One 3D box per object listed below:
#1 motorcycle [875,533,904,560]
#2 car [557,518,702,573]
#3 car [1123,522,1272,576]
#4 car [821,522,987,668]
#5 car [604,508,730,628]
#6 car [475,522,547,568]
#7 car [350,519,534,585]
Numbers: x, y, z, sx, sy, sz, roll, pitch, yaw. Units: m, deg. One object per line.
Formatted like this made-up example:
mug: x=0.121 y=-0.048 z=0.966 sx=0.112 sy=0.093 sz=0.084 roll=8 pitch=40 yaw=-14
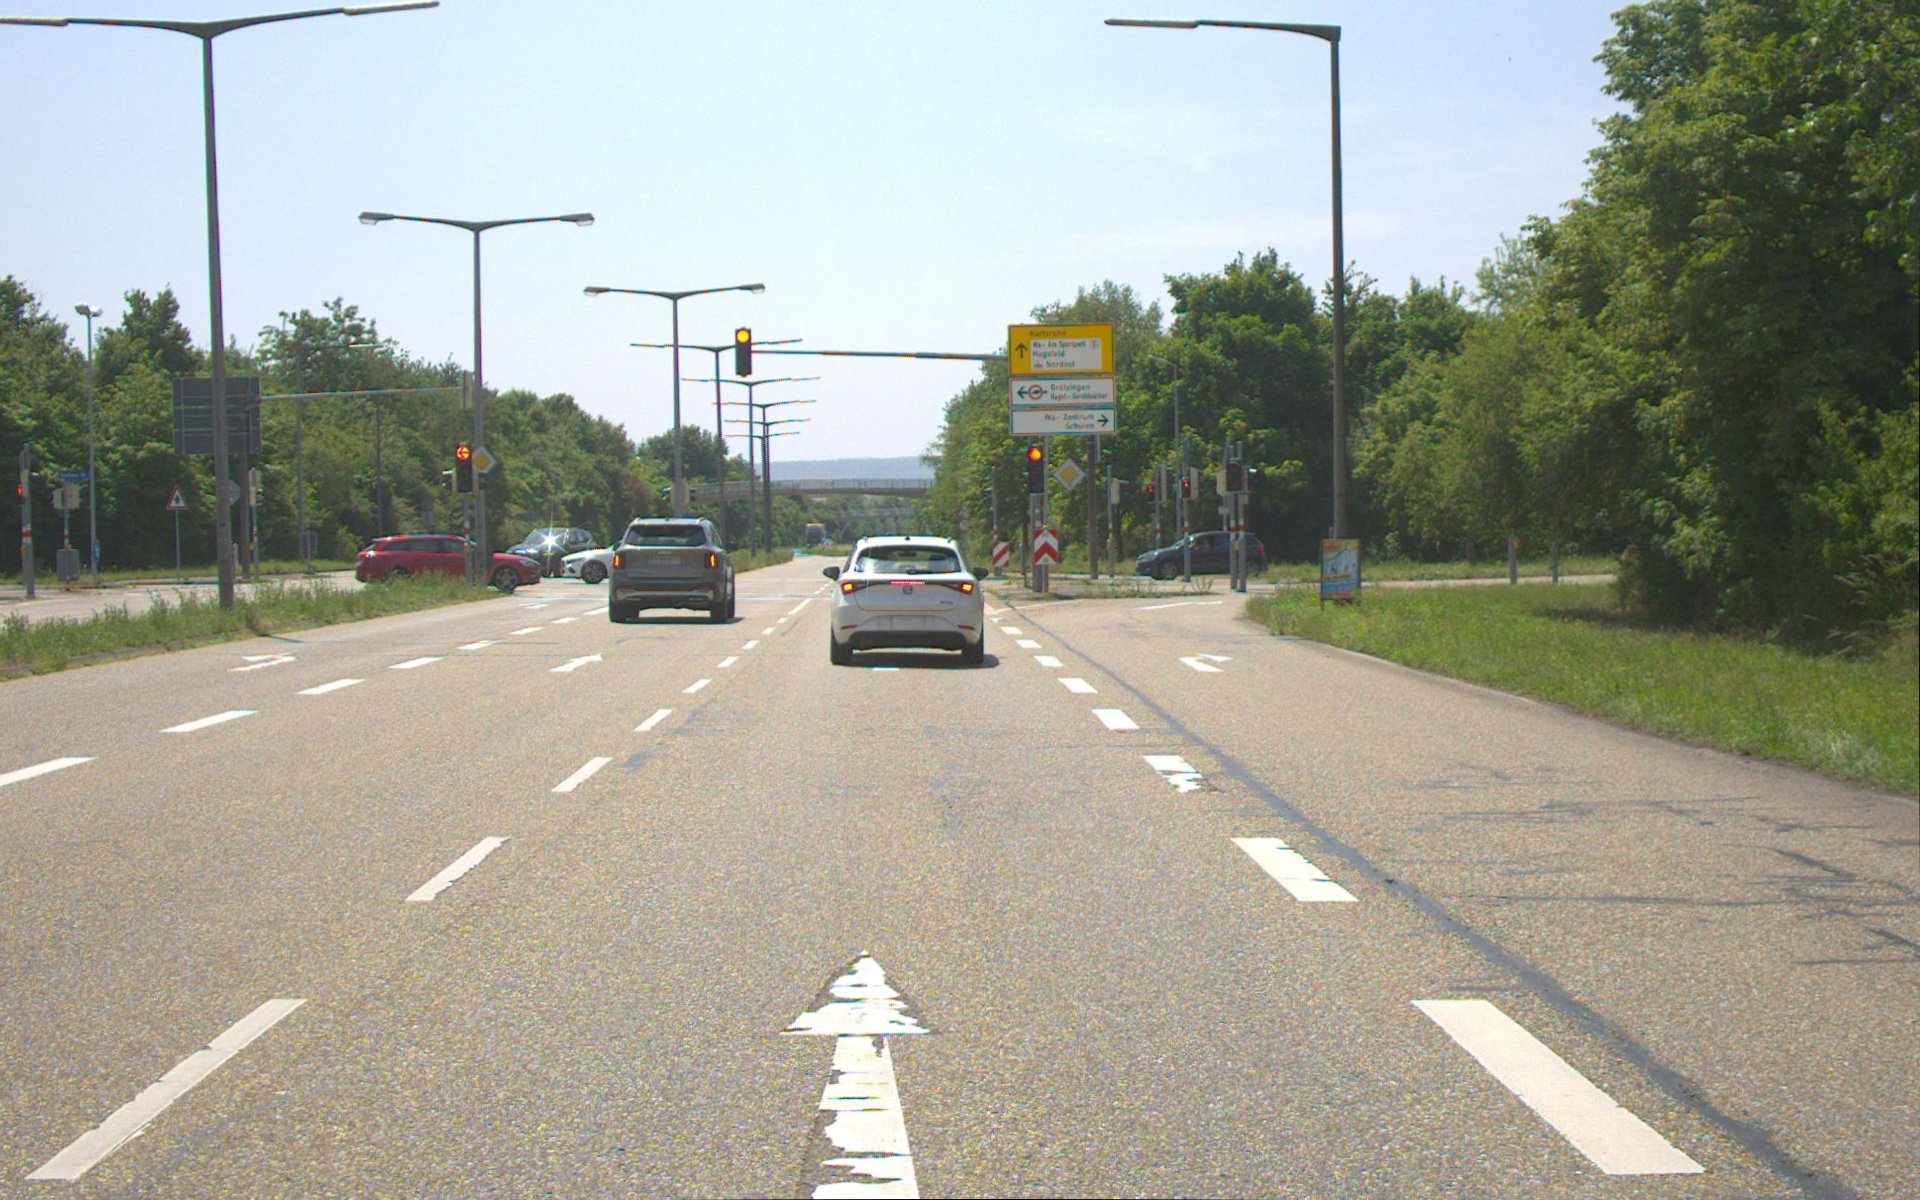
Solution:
motorcycle: x=-3.489 y=-2.667 z=170.382 sx=1.424 sy=1.276 sz=2.569 roll=-2 pitch=1 yaw=-1
car: x=-9.680 y=-1.603 z=100.602 sx=4.100 sy=1.520 sz=1.939 roll=-1 pitch=1 yaw=-8
car: x=7.071 y=-1.527 z=102.731 sx=4.100 sy=1.520 sz=1.939 roll=-1 pitch=1 yaw=-8
car: x=-0.635 y=-0.094 z=39.837 sx=1.797 sy=1.577 sz=4.000 roll=-1 pitch=1 yaw=-1
car: x=-4.825 y=-0.548 z=57.066 sx=1.755 sy=1.922 sz=4.000 roll=0 pitch=1 yaw=0
car: x=-15.176 y=-1.864 z=116.379 sx=1.828 sy=1.514 sz=4.000 roll=0 pitch=1 yaw=2
car: x=-13.028 y=-1.219 z=86.736 sx=4.522 sy=1.635 sz=1.978 roll=0 pitch=1 yaw=-7
